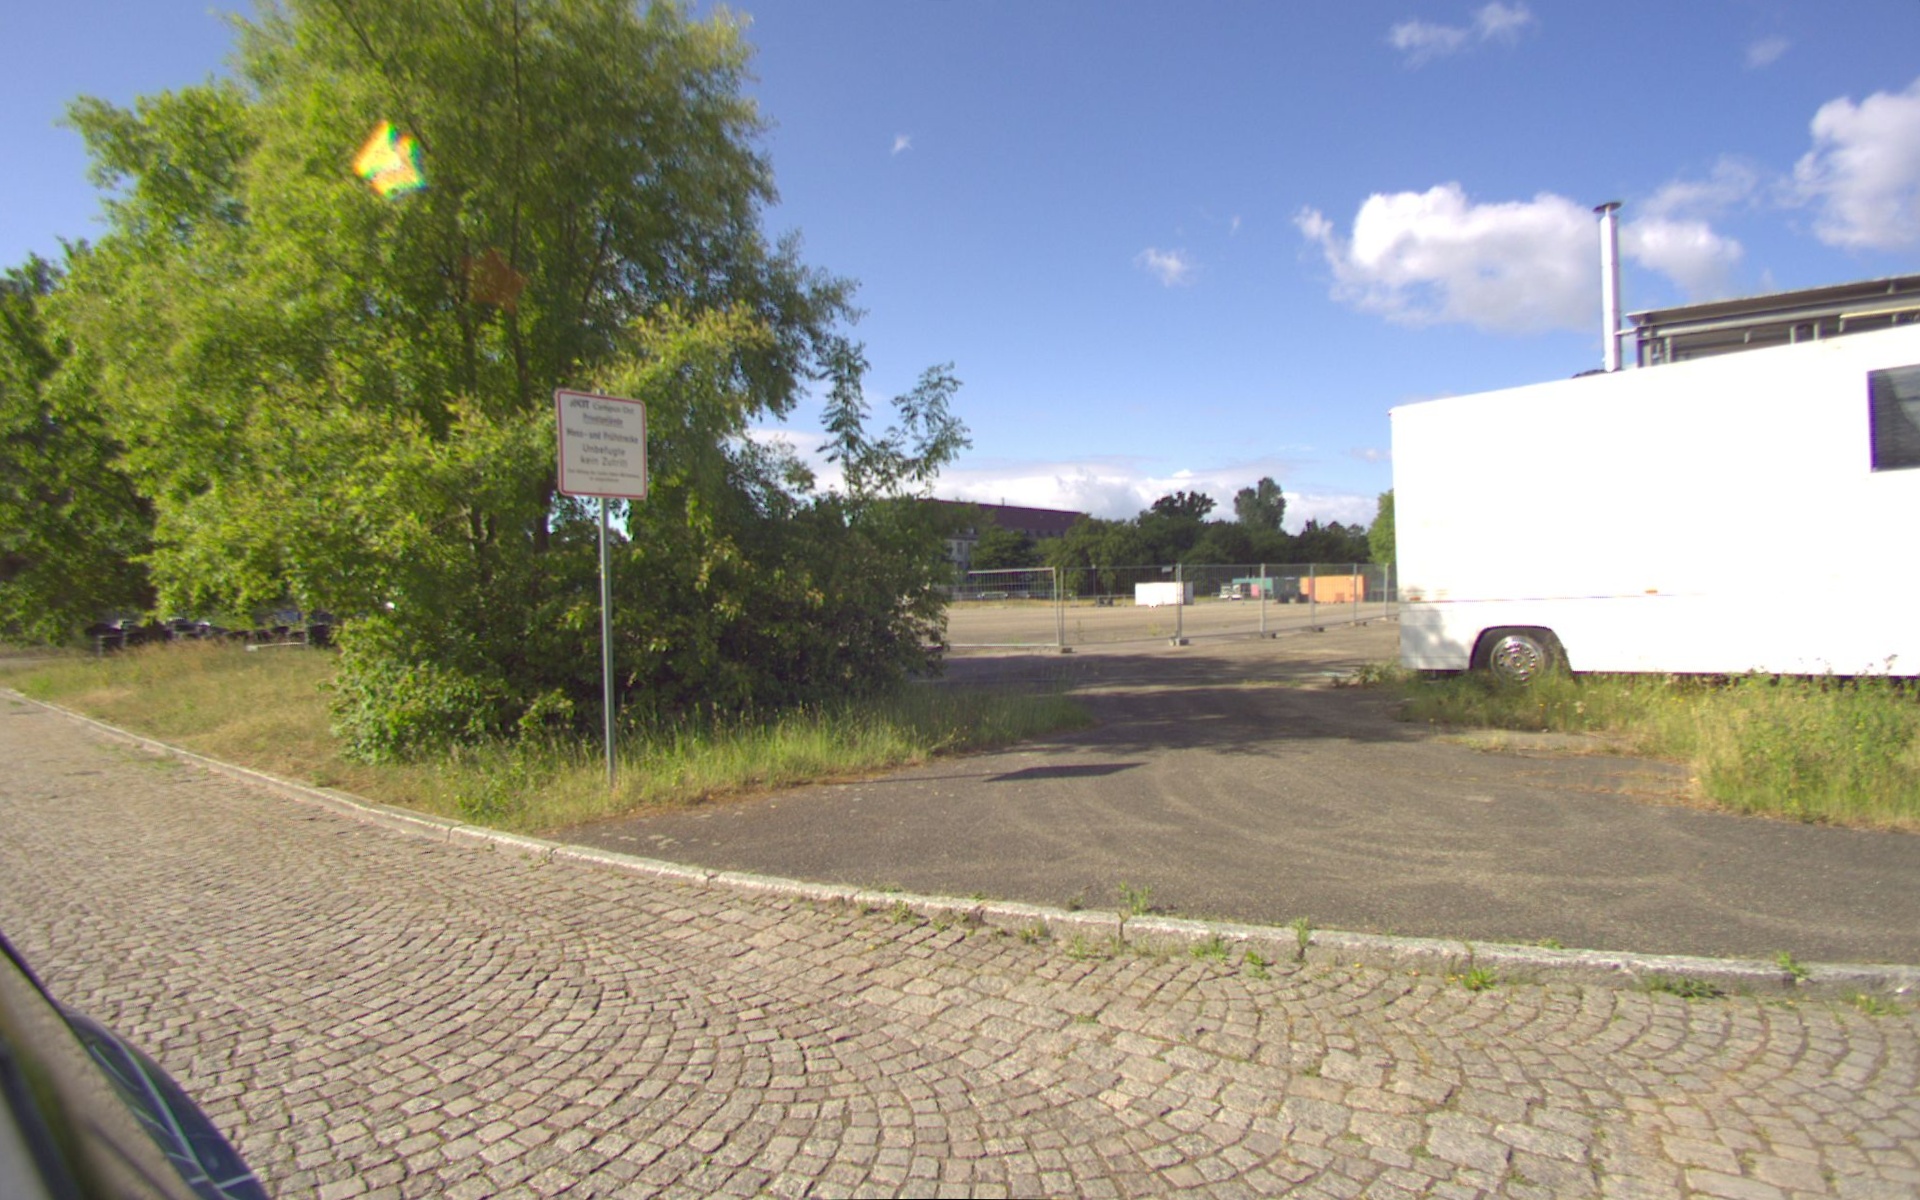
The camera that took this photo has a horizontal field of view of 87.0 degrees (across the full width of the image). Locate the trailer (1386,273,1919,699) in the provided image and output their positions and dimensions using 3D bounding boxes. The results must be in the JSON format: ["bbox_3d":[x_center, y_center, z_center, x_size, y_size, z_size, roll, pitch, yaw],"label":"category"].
[{"bbox_3d":[10.267,-1.086,9.934,10.887,3.940,2.742,-2,-1,43],"label":"trailer"}]

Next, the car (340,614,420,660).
[{"bbox_3d":[-19.477,1.227,33.928,1.522,1.417,3.581,-1,-1,-43],"label":"car"}]
